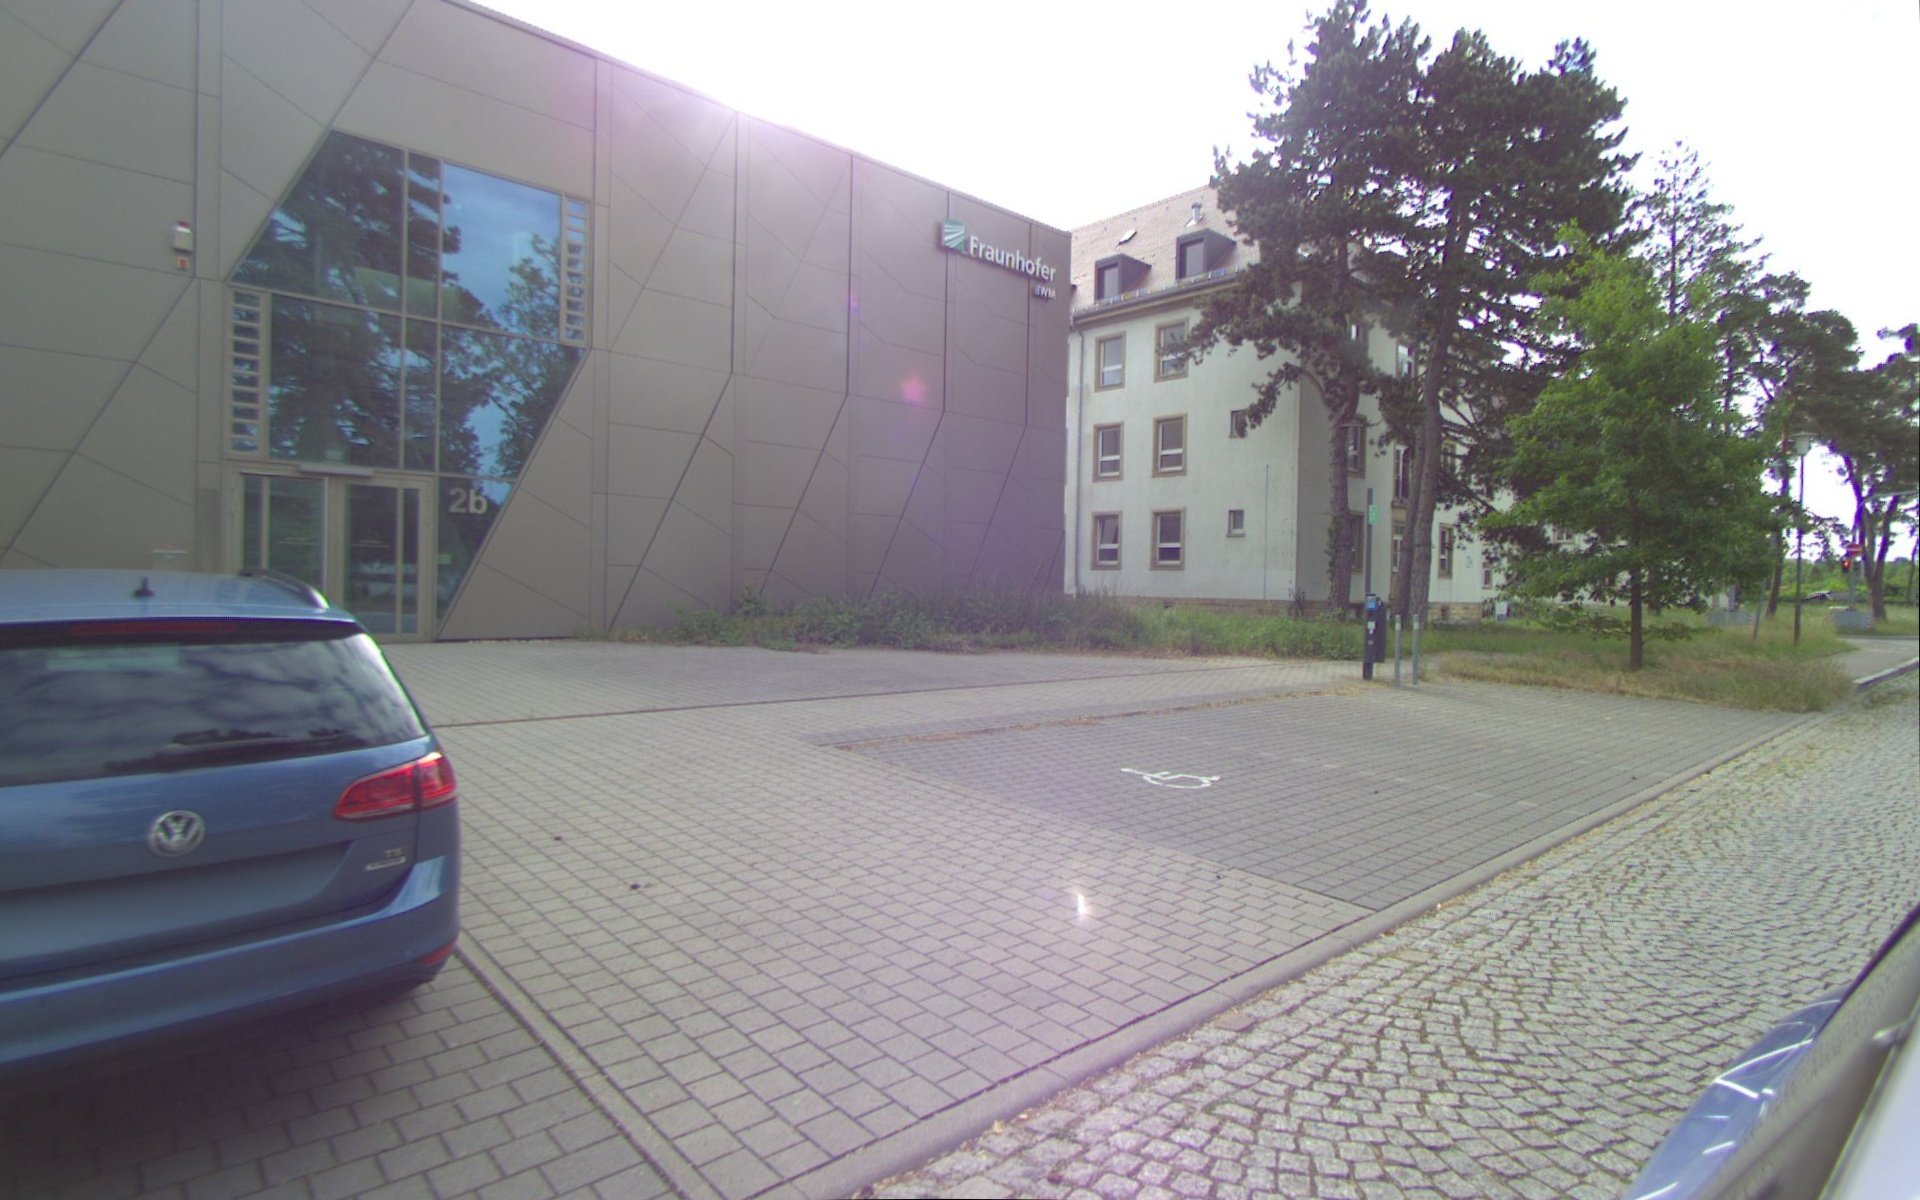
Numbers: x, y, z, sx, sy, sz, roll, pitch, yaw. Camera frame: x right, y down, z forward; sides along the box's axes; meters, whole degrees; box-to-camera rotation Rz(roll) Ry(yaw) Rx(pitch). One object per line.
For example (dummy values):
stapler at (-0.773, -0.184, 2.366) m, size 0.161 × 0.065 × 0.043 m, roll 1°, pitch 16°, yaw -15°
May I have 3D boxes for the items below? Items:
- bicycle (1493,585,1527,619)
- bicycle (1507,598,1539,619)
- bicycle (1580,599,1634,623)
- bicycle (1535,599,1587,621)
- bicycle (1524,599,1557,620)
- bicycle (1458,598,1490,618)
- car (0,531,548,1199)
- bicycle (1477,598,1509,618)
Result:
bicycle at (29.840, 0.105, 54.885) m, size 2.160 × 1.753 × 0.905 m, roll 0°, pitch 1°, yaw -40°
bicycle at (30.097, 0.463, 54.094) m, size 2.160 × 1.070 × 0.799 m, roll 0°, pitch 1°, yaw -40°
bicycle at (32.074, 0.525, 50.174) m, size 0.706 × 1.109 × 2.159 m, roll 0°, pitch 1°, yaw -45°
bicycle at (30.735, 0.511, 51.769) m, size 0.706 × 1.070 × 2.159 m, roll 0°, pitch 1°, yaw -45°
bicycle at (30.654, 0.479, 53.453) m, size 2.127 × 1.070 × 0.799 m, roll 0°, pitch 1°, yaw -40°
bicycle at (28.393, 0.427, 55.892) m, size 2.127 × 1.070 × 0.799 m, roll 0°, pitch 1°, yaw -40°
car at (-3.489, 0.505, 3.998) m, size 1.900 × 1.467 × 4.531 m, roll 1°, pitch 3°, yaw -44°
bicycle at (29.207, 0.434, 55.460) m, size 2.160 × 1.070 × 0.799 m, roll 0°, pitch 1°, yaw -40°
